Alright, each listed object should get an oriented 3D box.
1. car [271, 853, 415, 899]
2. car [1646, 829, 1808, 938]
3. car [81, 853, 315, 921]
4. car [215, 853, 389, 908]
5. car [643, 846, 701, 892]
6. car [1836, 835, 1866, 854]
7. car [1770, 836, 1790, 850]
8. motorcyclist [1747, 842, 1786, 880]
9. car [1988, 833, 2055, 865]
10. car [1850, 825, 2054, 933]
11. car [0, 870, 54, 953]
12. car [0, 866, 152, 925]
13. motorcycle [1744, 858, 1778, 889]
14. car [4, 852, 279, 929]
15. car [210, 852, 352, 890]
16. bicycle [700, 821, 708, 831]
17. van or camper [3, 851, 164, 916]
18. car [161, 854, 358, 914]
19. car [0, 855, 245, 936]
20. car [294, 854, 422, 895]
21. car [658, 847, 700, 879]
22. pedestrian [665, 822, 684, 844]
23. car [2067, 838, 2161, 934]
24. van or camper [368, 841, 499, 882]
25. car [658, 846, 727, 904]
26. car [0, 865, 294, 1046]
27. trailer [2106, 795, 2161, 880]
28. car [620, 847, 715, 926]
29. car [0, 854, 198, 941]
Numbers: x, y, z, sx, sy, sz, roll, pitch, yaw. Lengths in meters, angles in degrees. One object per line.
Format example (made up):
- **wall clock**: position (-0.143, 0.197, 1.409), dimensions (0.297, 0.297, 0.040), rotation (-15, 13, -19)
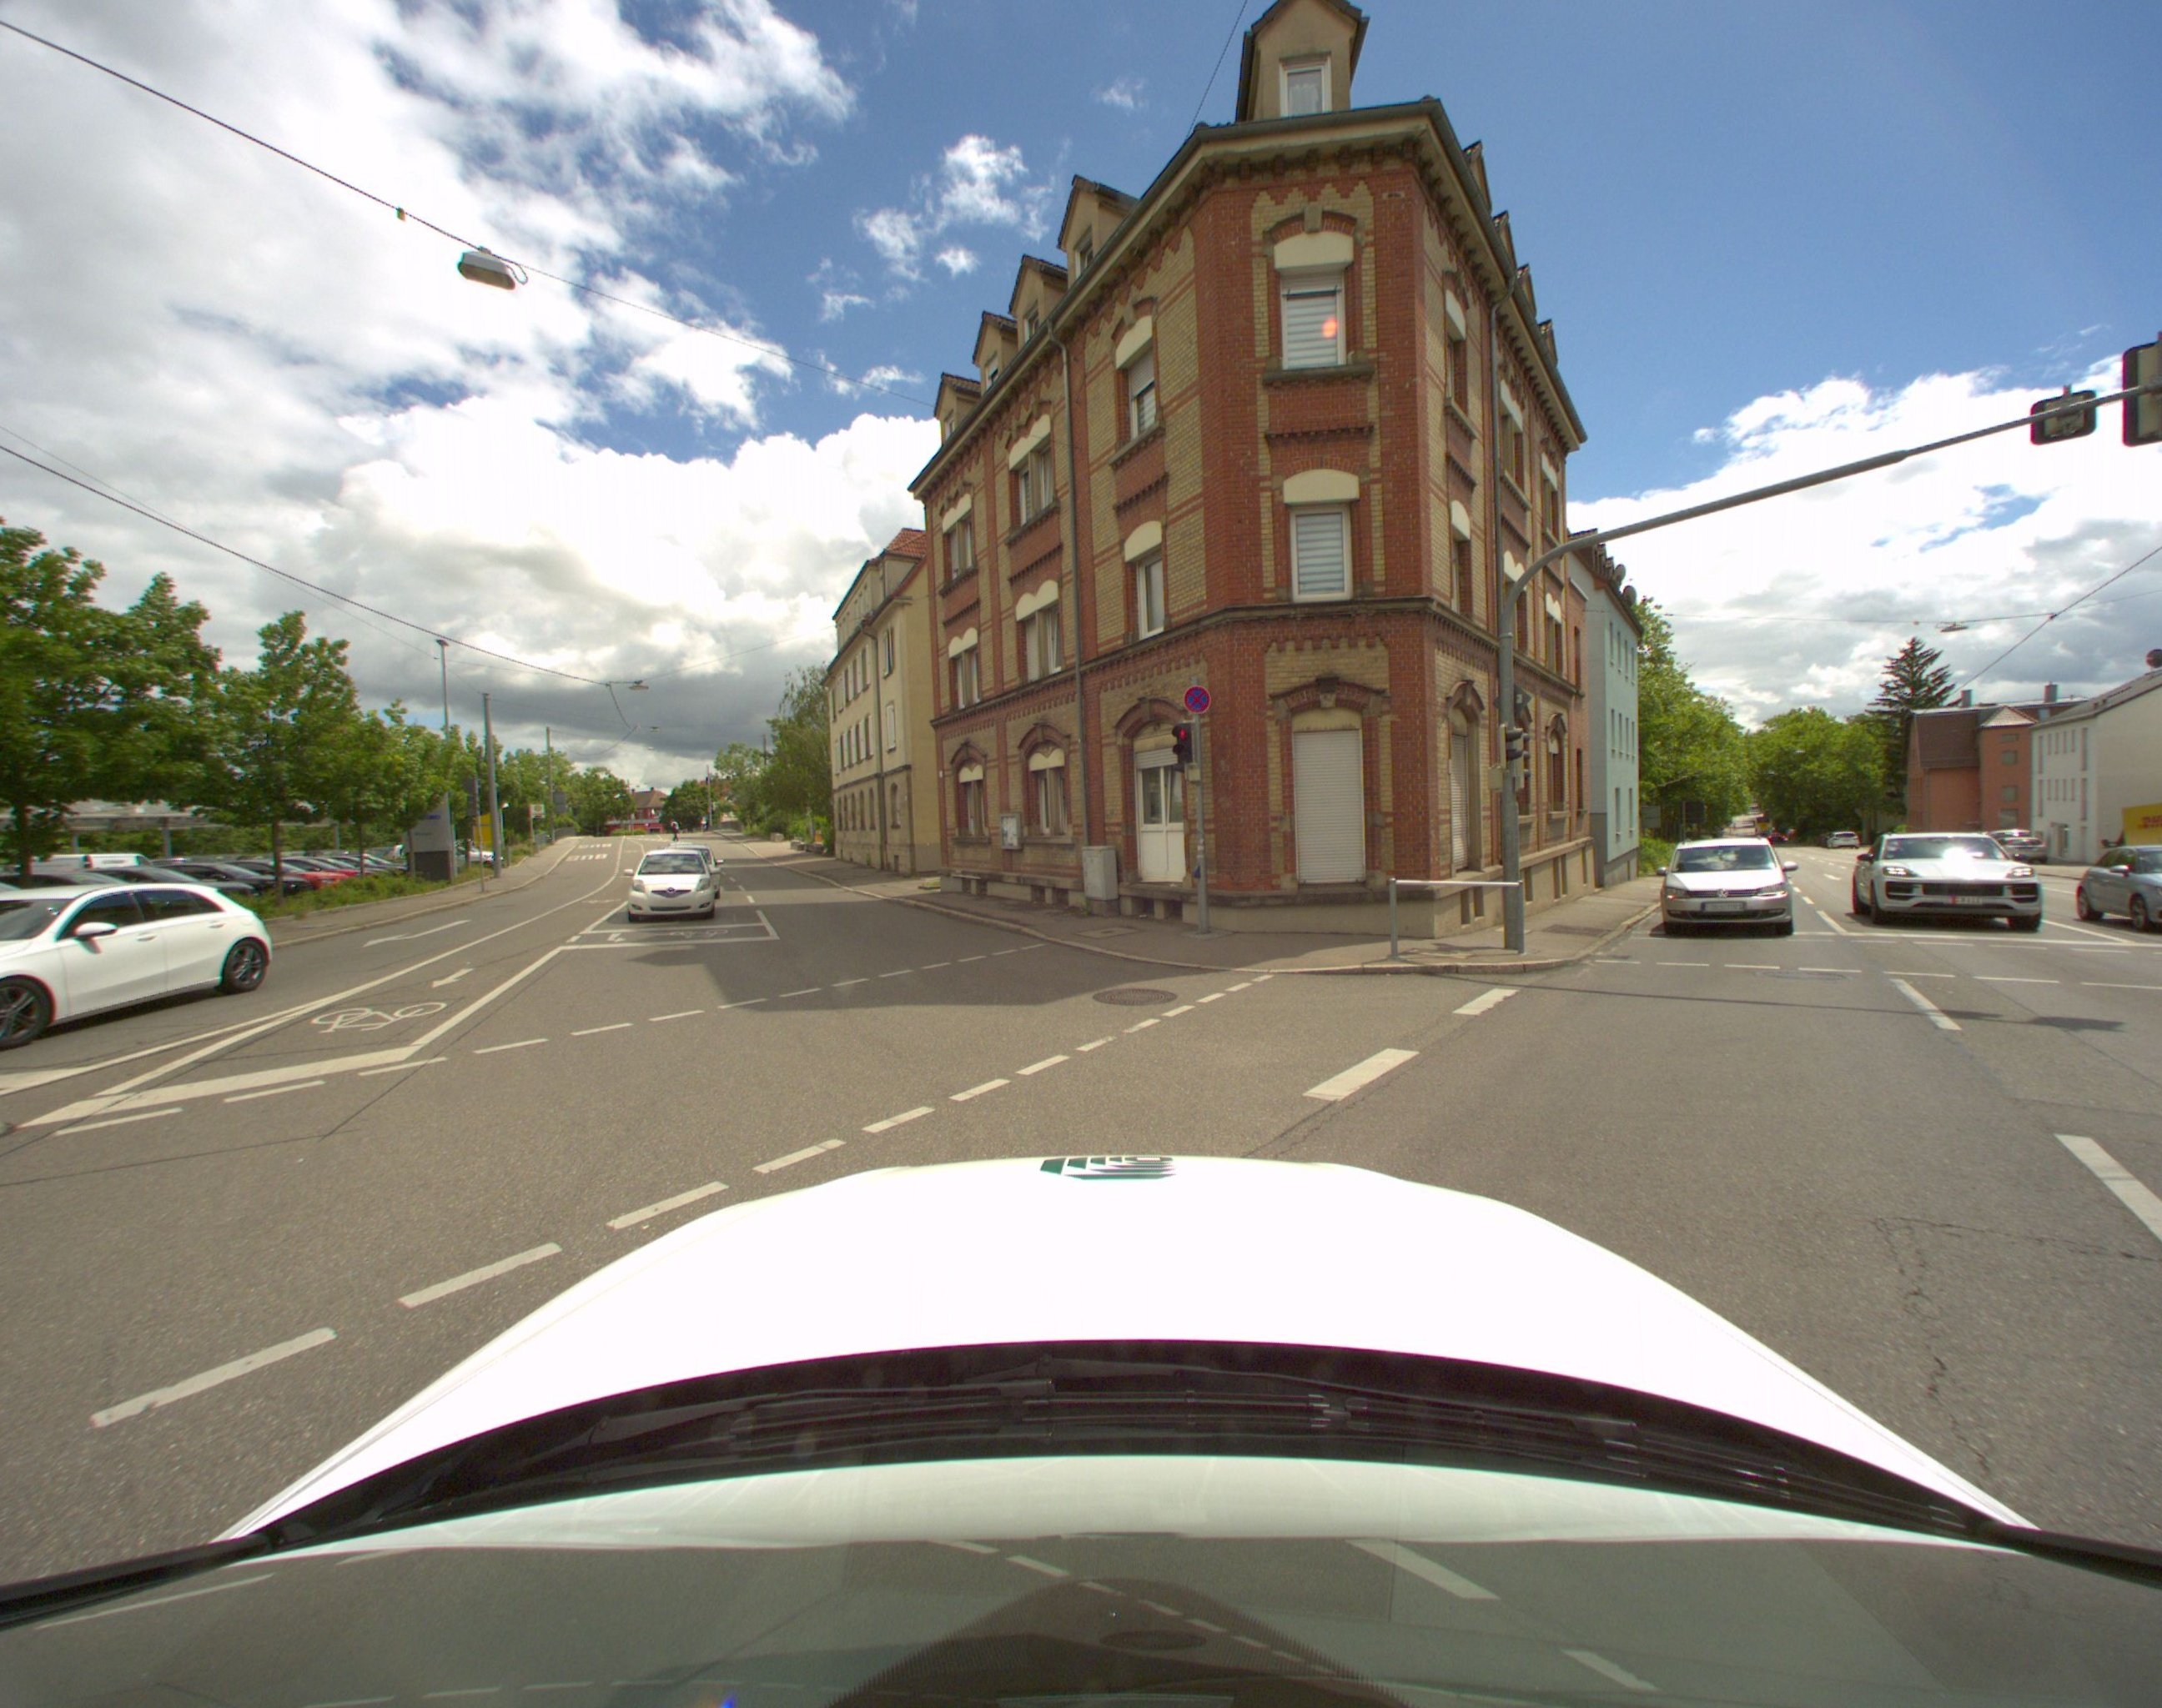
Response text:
- **car**: position (-29.101, 0.833, 32.283), dimensions (3.858, 1.461, 1.756), rotation (-4, 3, -30)
- **car**: position (12.055, 0.494, 15.234), dimensions (1.974, 1.717, 4.641), rotation (-5, -2, 39)
- **car**: position (-24.597, 0.855, 22.918), dimensions (4.005, 1.497, 1.796), rotation (-4, 3, -28)
- **car**: position (-26.498, 0.861, 27.898), dimensions (3.872, 1.497, 1.796), rotation (-4, 3, -29)
- **car**: position (-15.169, 0.512, 30.354), dimensions (1.727, 1.581, 4.216), rotation (-1, 0, -25)
- **car**: position (73.129, -0.925, 77.357), dimensions (1.975, 1.717, 4.640), rotation (-1, 0, 43)
- **car**: position (93.991, -1.496, 109.503), dimensions (1.974, 1.717, 4.641), rotation (-1, 0, 40)
- **motorcyclist**: position (25.410, 0.255, 30.204), dimensions (1.068, 1.379, 1.427), rotation (0, 0, 40)
- **car**: position (53.125, -0.310, 46.097), dimensions (1.975, 1.717, 4.640), rotation (-1, 0, 43)
- **car**: position (16.092, 0.388, 15.339), dimensions (1.974, 1.717, 4.641), rotation (-1, 0, 39)
- **car**: position (-20.748, 1.128, 13.547), dimensions (4.086, 1.394, 1.798), rotation (-3, 3, -25)
- **car**: position (-28.661, 1.159, 22.641), dimensions (3.336, 1.373, 1.504), rotation (-4, 3, -29)
- **motorcycle**: position (25.269, 0.694, 30.240), dimensions (0.931, 1.049, 3.345), rotation (0, 0, 41)
- **car**: position (-23.446, 0.845, 20.593), dimensions (4.078, 1.497, 1.796), rotation (-4, 3, -28)
- **car**: position (-37.018, 0.749, 37.775), dimensions (1.988, 1.436, 4.551), rotation (0, 3, 42)
- **bicycle**: position (-41.750, -3.090, 90.234), dimensions (0.691, 0.878, 2.085), rotation (-2, -2, -24)
- **van or camper**: position (-36.692, 0.998, 30.169), dimensions (2.005, 2.013, 4.643), rotation (-4, 3, -28)
- **car**: position (-25.340, 0.868, 25.324), dimensions (3.849, 1.497, 1.796), rotation (-4, 3, -28)
- **car**: position (-22.346, 0.909, 18.442), dimensions (4.304, 1.497, 1.796), rotation (-4, 3, -28)
- **car**: position (-30.233, 0.817, 34.220), dimensions (3.725, 1.409, 1.777), rotation (-4, 3, -34)
- **car**: position (-20.730, 0.431, 41.953), dimensions (1.729, 1.581, 3.963), rotation (-1, 0, -29)
- **pedestrian**: position (-34.840, -1.777, 69.851), dimensions (1.029, 1.836, 1.000), rotation (0, 2, 2)
- **car**: position (18.361, 0.479, 13.467), dimensions (1.833, 1.476, 3.996), rotation (1, 1, 39)
- **van or camper**: position (-32.457, 0.315, 41.005), dimensions (4.690, 1.749, 1.985), rotation (-3, 3, -24)
- **car**: position (-11.749, 0.571, 24.758), dimensions (1.727, 1.581, 4.283), rotation (-1, 0, -24)
- **car**: position (-10.490, 0.952, 8.130), dimensions (1.722, 1.496, 4.441), rotation (-4, 1, -15)
- **trailer**: position (39.848, -0.537, 29.252), dimensions (2.960, 2.876, 6.767), rotation (0, -1, 45)
- **car**: position (-9.344, 0.645, 18.631), dimensions (1.727, 1.581, 3.968), rotation (-1, 0, -25)
- **car**: position (-21.278, 0.903, 16.422), dimensions (4.231, 1.497, 1.796), rotation (-4, 3, -28)
